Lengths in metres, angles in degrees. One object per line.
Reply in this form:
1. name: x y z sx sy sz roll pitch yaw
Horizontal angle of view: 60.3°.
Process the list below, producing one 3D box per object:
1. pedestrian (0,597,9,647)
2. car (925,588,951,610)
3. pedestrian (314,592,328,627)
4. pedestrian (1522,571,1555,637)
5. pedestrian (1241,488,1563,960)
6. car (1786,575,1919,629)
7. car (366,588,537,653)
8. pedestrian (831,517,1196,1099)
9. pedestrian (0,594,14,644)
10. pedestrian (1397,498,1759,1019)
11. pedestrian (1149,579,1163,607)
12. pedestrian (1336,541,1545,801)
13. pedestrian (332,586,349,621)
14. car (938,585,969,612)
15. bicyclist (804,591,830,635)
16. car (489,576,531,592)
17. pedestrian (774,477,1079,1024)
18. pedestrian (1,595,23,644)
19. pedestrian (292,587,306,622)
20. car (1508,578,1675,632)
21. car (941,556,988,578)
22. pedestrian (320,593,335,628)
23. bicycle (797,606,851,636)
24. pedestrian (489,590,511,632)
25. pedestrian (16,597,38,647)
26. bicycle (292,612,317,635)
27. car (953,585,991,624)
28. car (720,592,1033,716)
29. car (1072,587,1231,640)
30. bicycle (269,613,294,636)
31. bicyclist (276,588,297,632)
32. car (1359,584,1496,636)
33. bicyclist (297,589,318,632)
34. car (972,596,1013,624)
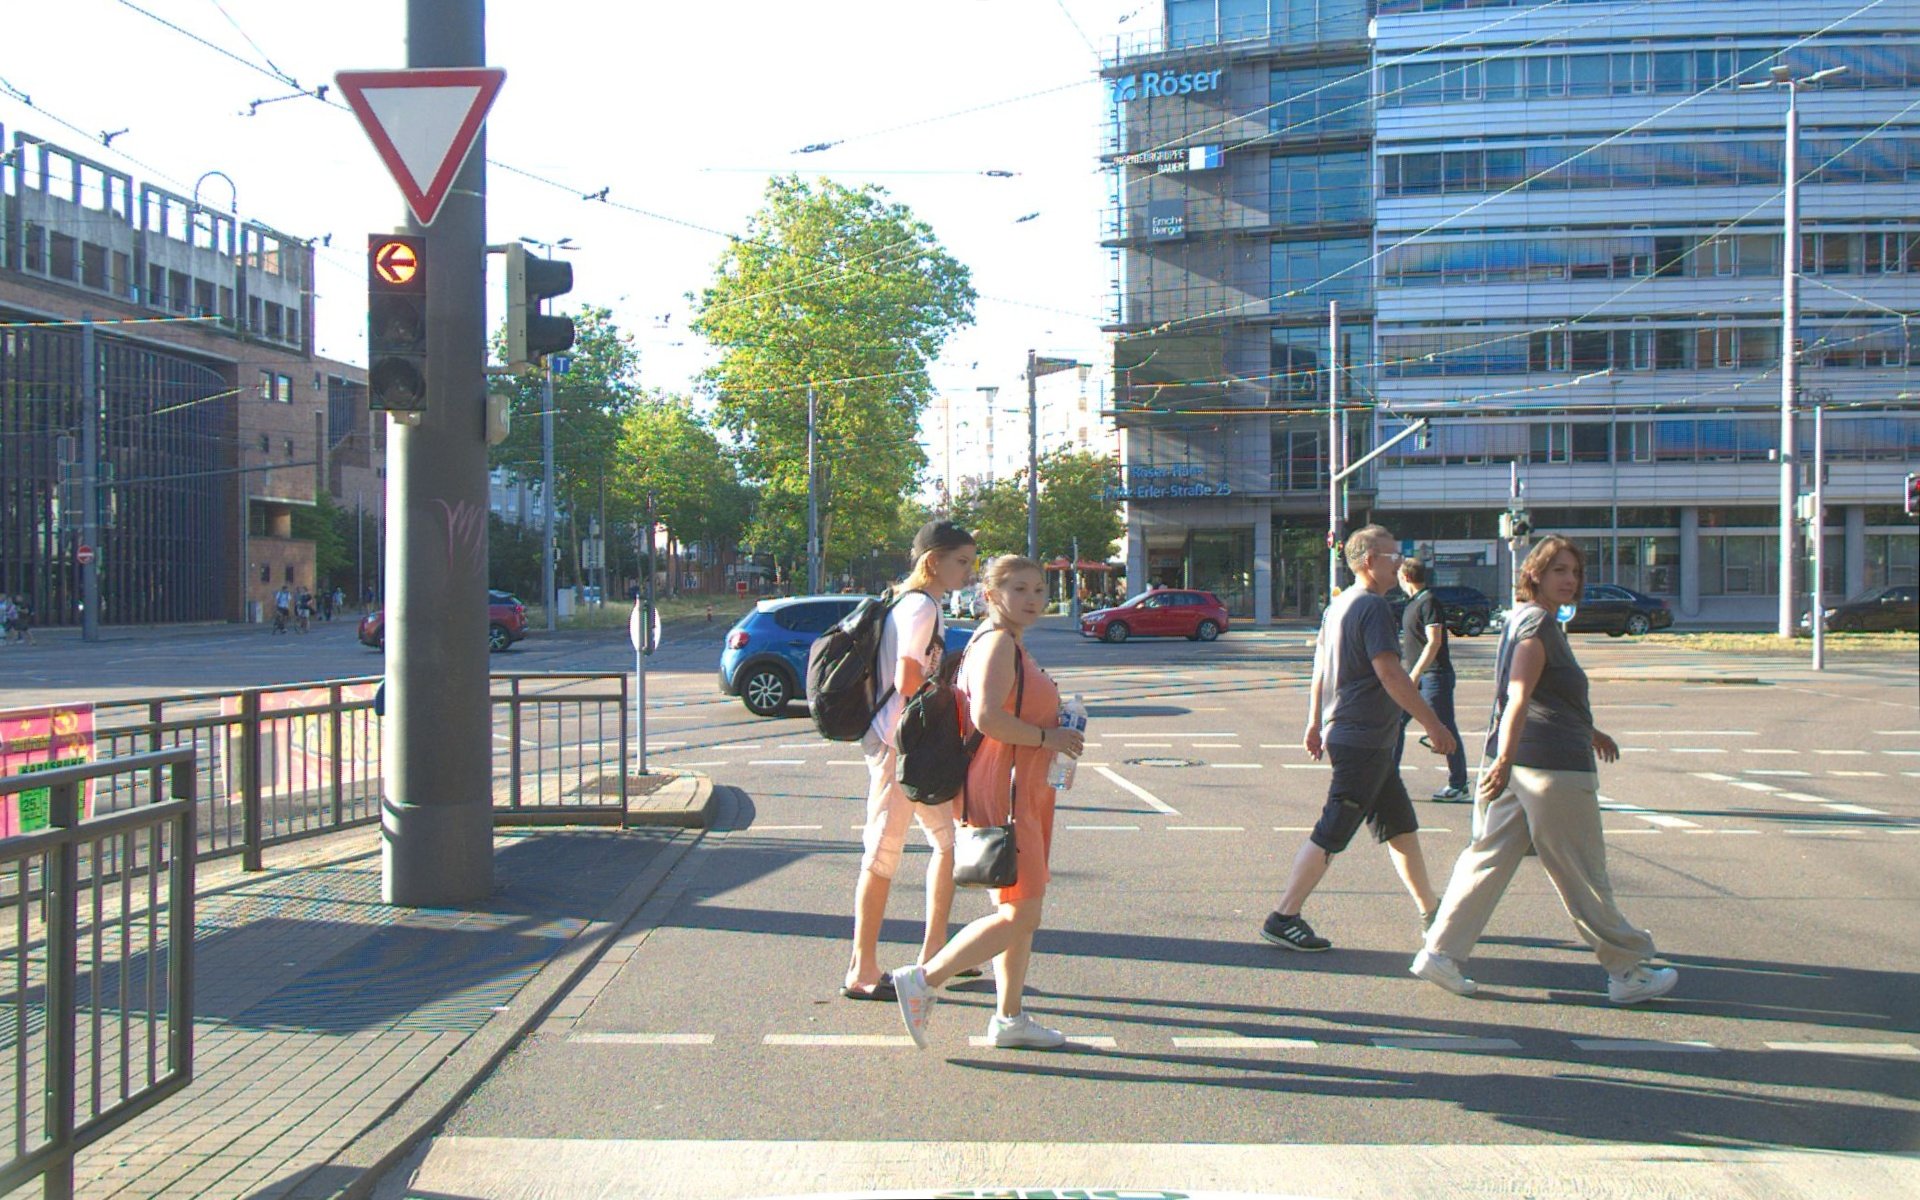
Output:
1. pedestrian: -32.236 0.746 55.418 0.528 1.679 0.622 -1 0 -20
2. car: -1.704 -0.093 127.300 1.953 1.691 3.999 -1 0 -1
3. pedestrian: -34.104 0.505 88.298 0.479 1.842 0.546 -1 0 6
4. pedestrian: 15.176 0.102 43.396 0.704 1.711 0.557 1 0 6
5. pedestrian: 1.905 0.514 7.250 1.123 1.927 0.831 1 0 -8
6. car: 25.070 0.031 45.151 4.151 1.417 1.796 -1 0 4
7. car: -13.483 0.519 44.097 4.165 1.630 1.790 -1 0 -12
8. pedestrian: 0.140 0.618 5.318 1.052 1.711 0.756 1 0 -8
9. pedestrian: -32.584 0.644 56.310 0.528 1.679 0.622 -1 0 -20
10. pedestrian: 2.314 0.563 6.280 1.051 1.837 0.756 1 0 -8
11. pedestrian: 10.421 -0.374 88.027 0.723 1.491 0.537 -1 0 8
12. pedestrian: 3.590 0.518 12.454 1.185 1.854 1.040 1 0 -6
13. pedestrian: -33.060 0.199 88.261 0.627 1.842 0.546 -1 0 6
14. car: -0.435 -0.104 105.603 1.953 1.691 3.999 -1 0 -1
15. bicyclist: -4.539 0.406 52.594 0.803 1.390 0.400 -1 0 -6
16. car: -46.996 -1.691 172.756 3.948 1.579 1.589 1 0 -32
17. pedestrian: -0.150 0.529 6.201 1.053 1.904 0.737 1 0 -8
18. pedestrian: -32.750 0.670 57.167 0.528 1.679 0.622 -1 0 -20
19. pedestrian: -34.739 0.240 86.912 0.479 1.842 0.546 -1 0 6
20. car: 18.230 0.135 47.865 4.154 1.459 1.795 -1 0 -1
21. car: 0.427 -2.852 141.966 3.681 1.780 1.783 1 0 14
22. pedestrian: -33.175 0.542 86.730 0.511 1.810 0.546 -1 0 6
23. bicycle: -4.331 0.672 52.618 1.707 0.915 0.408 -1 0 -6
24. pedestrian: -17.511 0.413 62.991 0.740 1.557 0.507 1 0 -8
25. pedestrian: -31.720 0.730 56.242 0.528 1.679 0.622 -1 0 -20
26. bicycle: -26.145 0.936 66.009 0.503 0.897 1.835 -1 0 -8
27. car: 0.626 0.234 90.304 1.953 2.026 3.999 -1 0 -1
28. car: -1.090 0.662 21.576 3.876 1.482 1.998 -1 0 -4
29. car: 5.405 0.373 46.921 4.160 1.417 1.793 -1 0 -7
30. bicycle: -26.940 0.968 65.692 0.503 0.897 1.835 -1 0 -8
31. bicyclist: -26.791 0.399 65.802 0.582 1.705 0.788 -1 0 -7
32. car: 14.533 0.289 51.535 3.781 1.533 1.796 -1 0 1
33. bicyclist: -26.048 0.415 66.069 0.582 1.705 0.788 -1 0 -7
34. car: 1.620 0.490 83.481 1.953 1.355 3.999 -1 0 -1
